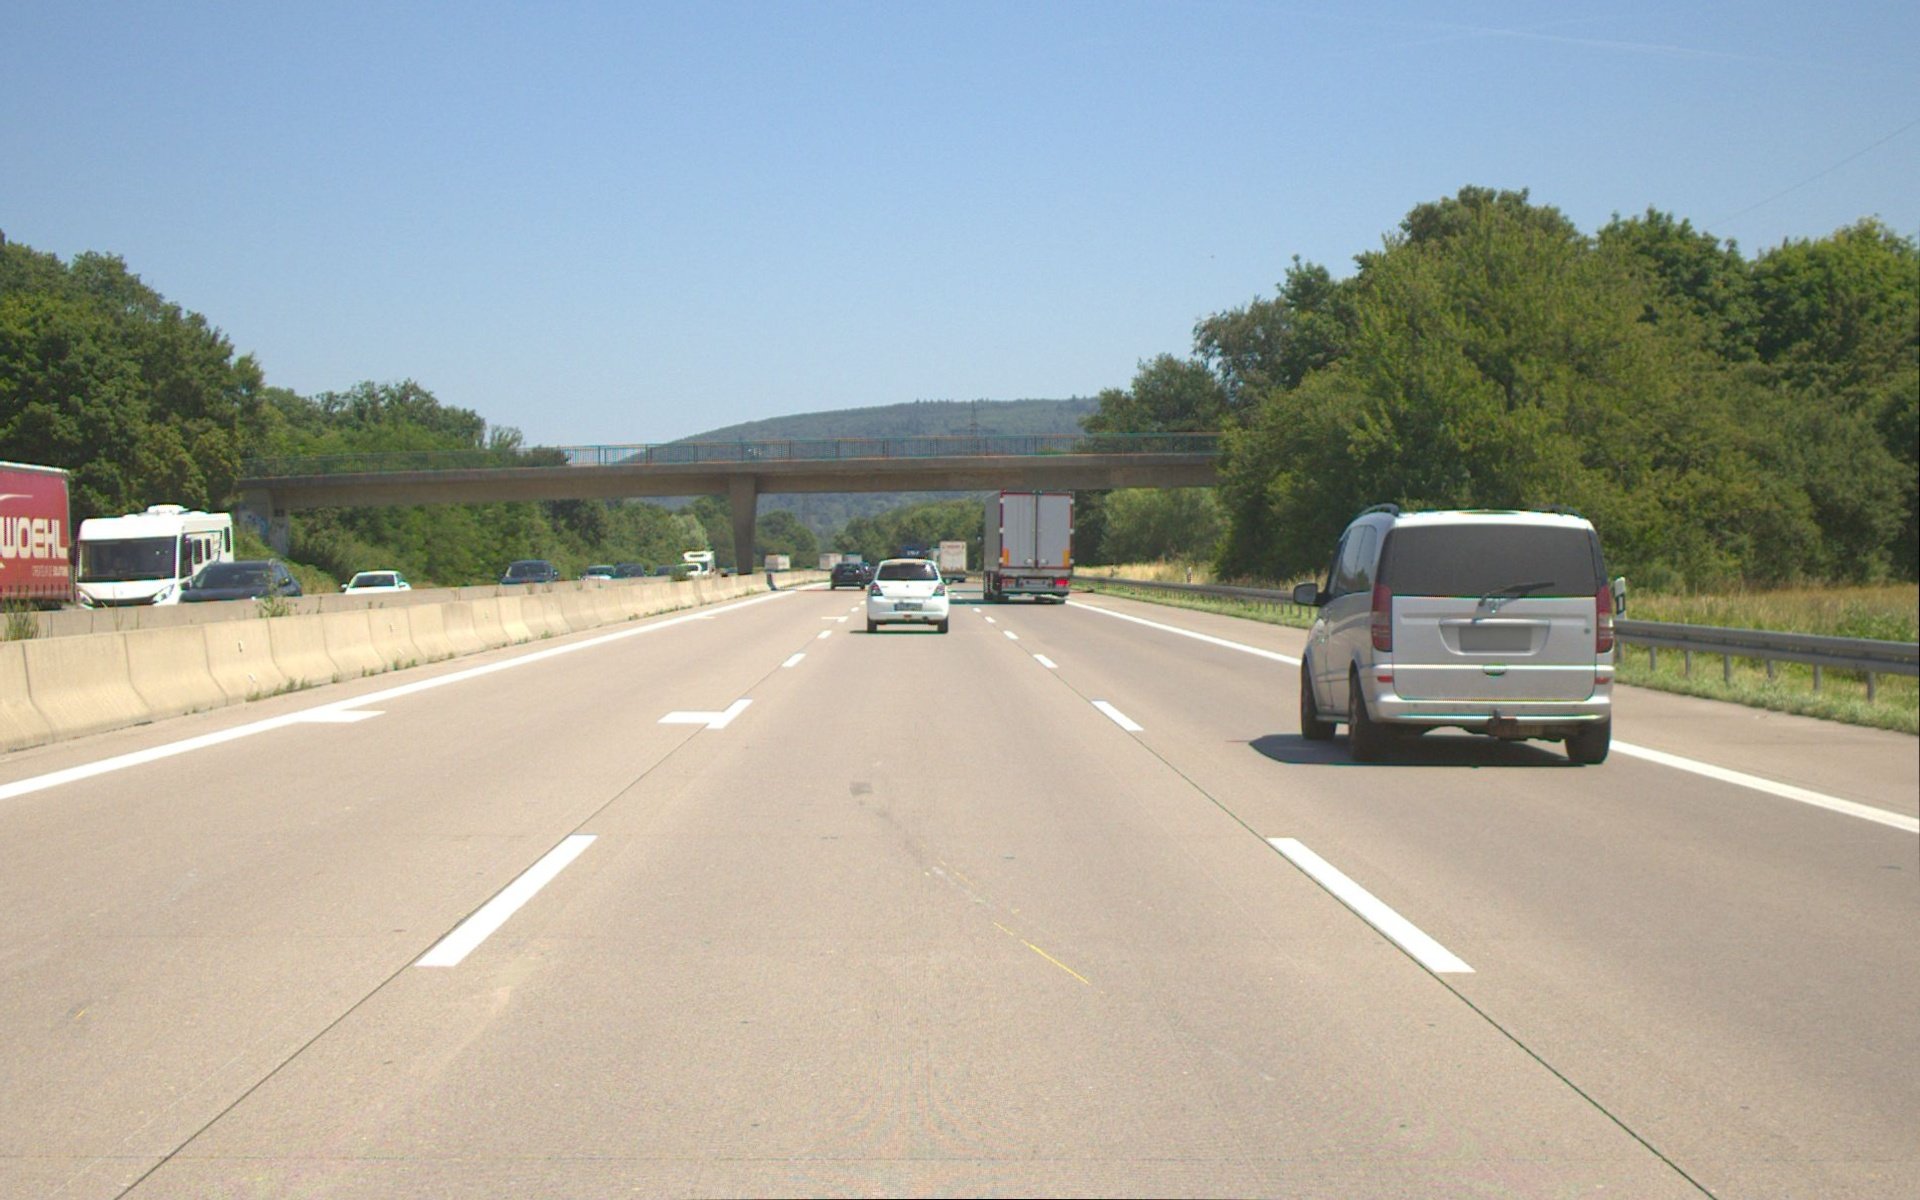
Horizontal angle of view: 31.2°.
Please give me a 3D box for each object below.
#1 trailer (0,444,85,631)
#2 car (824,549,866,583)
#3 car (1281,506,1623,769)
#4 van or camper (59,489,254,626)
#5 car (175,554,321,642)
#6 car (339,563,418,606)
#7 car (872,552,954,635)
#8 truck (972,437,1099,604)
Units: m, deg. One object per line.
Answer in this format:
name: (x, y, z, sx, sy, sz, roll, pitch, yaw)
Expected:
trailer: (-21.809, -1.324, 73.742, 3.000, 3.969, 12.342, -1, 1, -1)
car: (-5.985, -1.745, 178.620, 2.022, 1.695, 4.001, 1, 0, -3)
car: (3.777, 0.229, 27.322, 1.879, 1.882, 5.280, 0, 1, -1)
van or camper: (-17.820, -0.963, 76.763, 2.525, 2.880, 7.938, -1, 1, -1)
car: (-13.253, -0.068, 64.203, 1.793, 1.550, 4.601, -1, 1, -1)
car: (-18.188, -0.488, 107.731, 1.688, 1.259, 4.791, -1, 1, 0)
car: (-0.970, -0.147, 71.300, 1.641, 1.656, 3.360, 1, 1, -1)
truck: (2.636, -2.856, 127.670, 3.577, 5.767, 18.249, 0, 1, -2)
